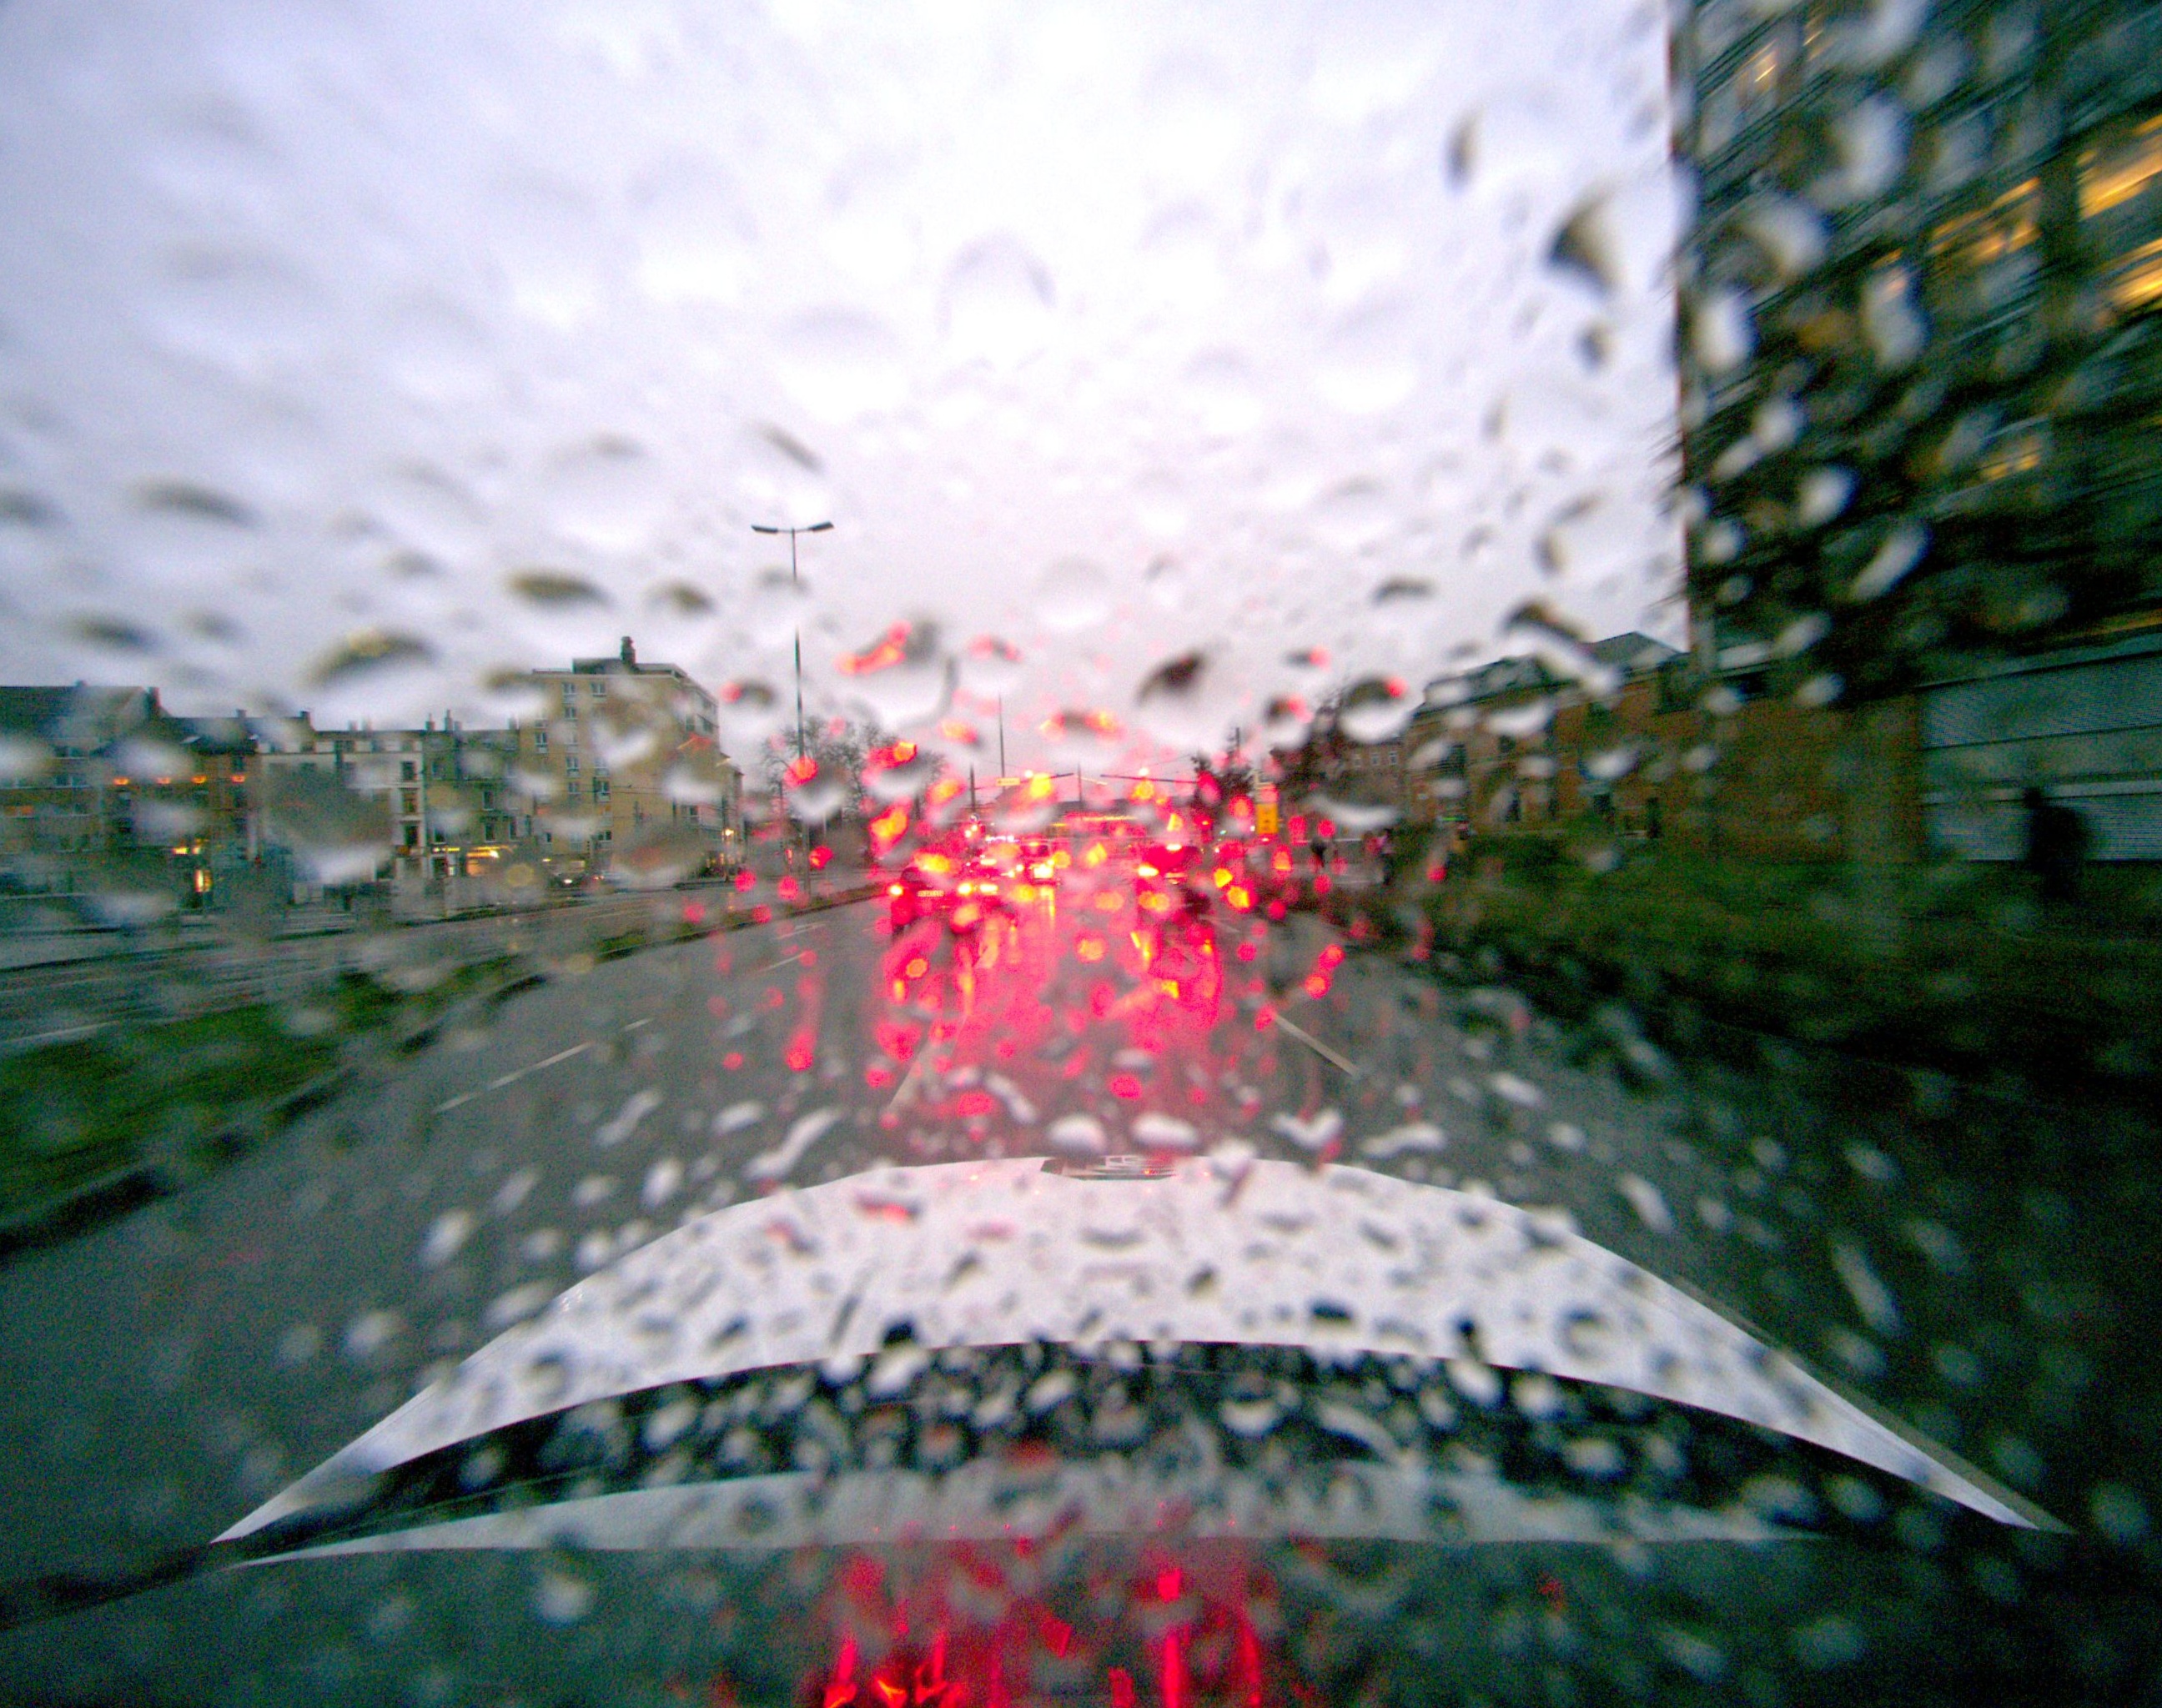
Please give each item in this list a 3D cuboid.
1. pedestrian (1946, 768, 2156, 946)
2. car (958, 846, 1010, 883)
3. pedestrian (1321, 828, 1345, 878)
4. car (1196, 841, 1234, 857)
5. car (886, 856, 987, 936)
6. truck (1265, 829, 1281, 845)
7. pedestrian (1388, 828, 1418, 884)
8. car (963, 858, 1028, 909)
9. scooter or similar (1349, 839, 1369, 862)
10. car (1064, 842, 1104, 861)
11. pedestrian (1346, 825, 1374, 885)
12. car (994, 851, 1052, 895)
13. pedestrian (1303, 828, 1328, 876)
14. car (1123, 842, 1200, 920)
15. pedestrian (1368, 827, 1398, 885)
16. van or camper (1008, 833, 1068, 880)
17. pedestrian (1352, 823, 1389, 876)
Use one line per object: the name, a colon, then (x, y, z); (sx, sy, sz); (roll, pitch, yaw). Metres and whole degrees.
pedestrian: (10.080, 0.029, 8.520); (0.805, 1.687, 1.069); (-4, 0, -3)
car: (-5.018, 0.496, 42.483); (1.876, 1.772, 4.005); (-2, 0, 4)
pedestrian: (10.518, -0.038, 33.963); (0.800, 2.013, 0.765); (-1, 3, 28)
car: (14.371, -0.572, 87.522); (4.024, 1.514, 1.975); (-4, 1, -45)
car: (-3.000, 0.811, 17.617); (1.697, 1.481, 3.867); (0, 1, -3)
truck: (34.395, -3.074, 146.078); (1.976, 2.691, 5.142); (-3, 0, 21)
pedestrian: (9.931, 0.052, 25.113); (0.711, 1.687, 0.765); (-3, 0, 28)
car: (-2.573, 0.857, 25.266); (1.654, 1.404, 4.118); (-1, 0, -1)
scooter or similar: (14.990, -0.200, 43.871); (0.507, 1.213, 1.392); (-3, 0, 39)
car: (0.305, -0.259, 87.929); (3.983, 1.772, 1.995); (-3, 0, -7)
pedestrian: (8.650, 0.022, 25.245); (0.578, 1.781, 0.774); (-4, -1, 28)
car: (-2.168, 0.669, 31.660); (1.778, 1.600, 4.543); (0, 0, 2)
pedestrian: (9.881, -0.089, 34.284); (0.800, 1.929, 0.765); (-1, 3, 28)
car: (2.146, 0.609, 21.545); (1.769, 1.800, 4.432); (-2, 1, 6)
pedestrian: (9.245, 0.054, 24.953); (0.661, 1.687, 0.616); (-4, 1, 28)
van or camper: (-2.029, 0.106, 39.937); (2.191, 2.109, 4.994); (-1, 0, 5)
pedestrian: (10.037, -0.150, 28.268); (0.853, 1.791, 0.744); (-3, 0, -19)
